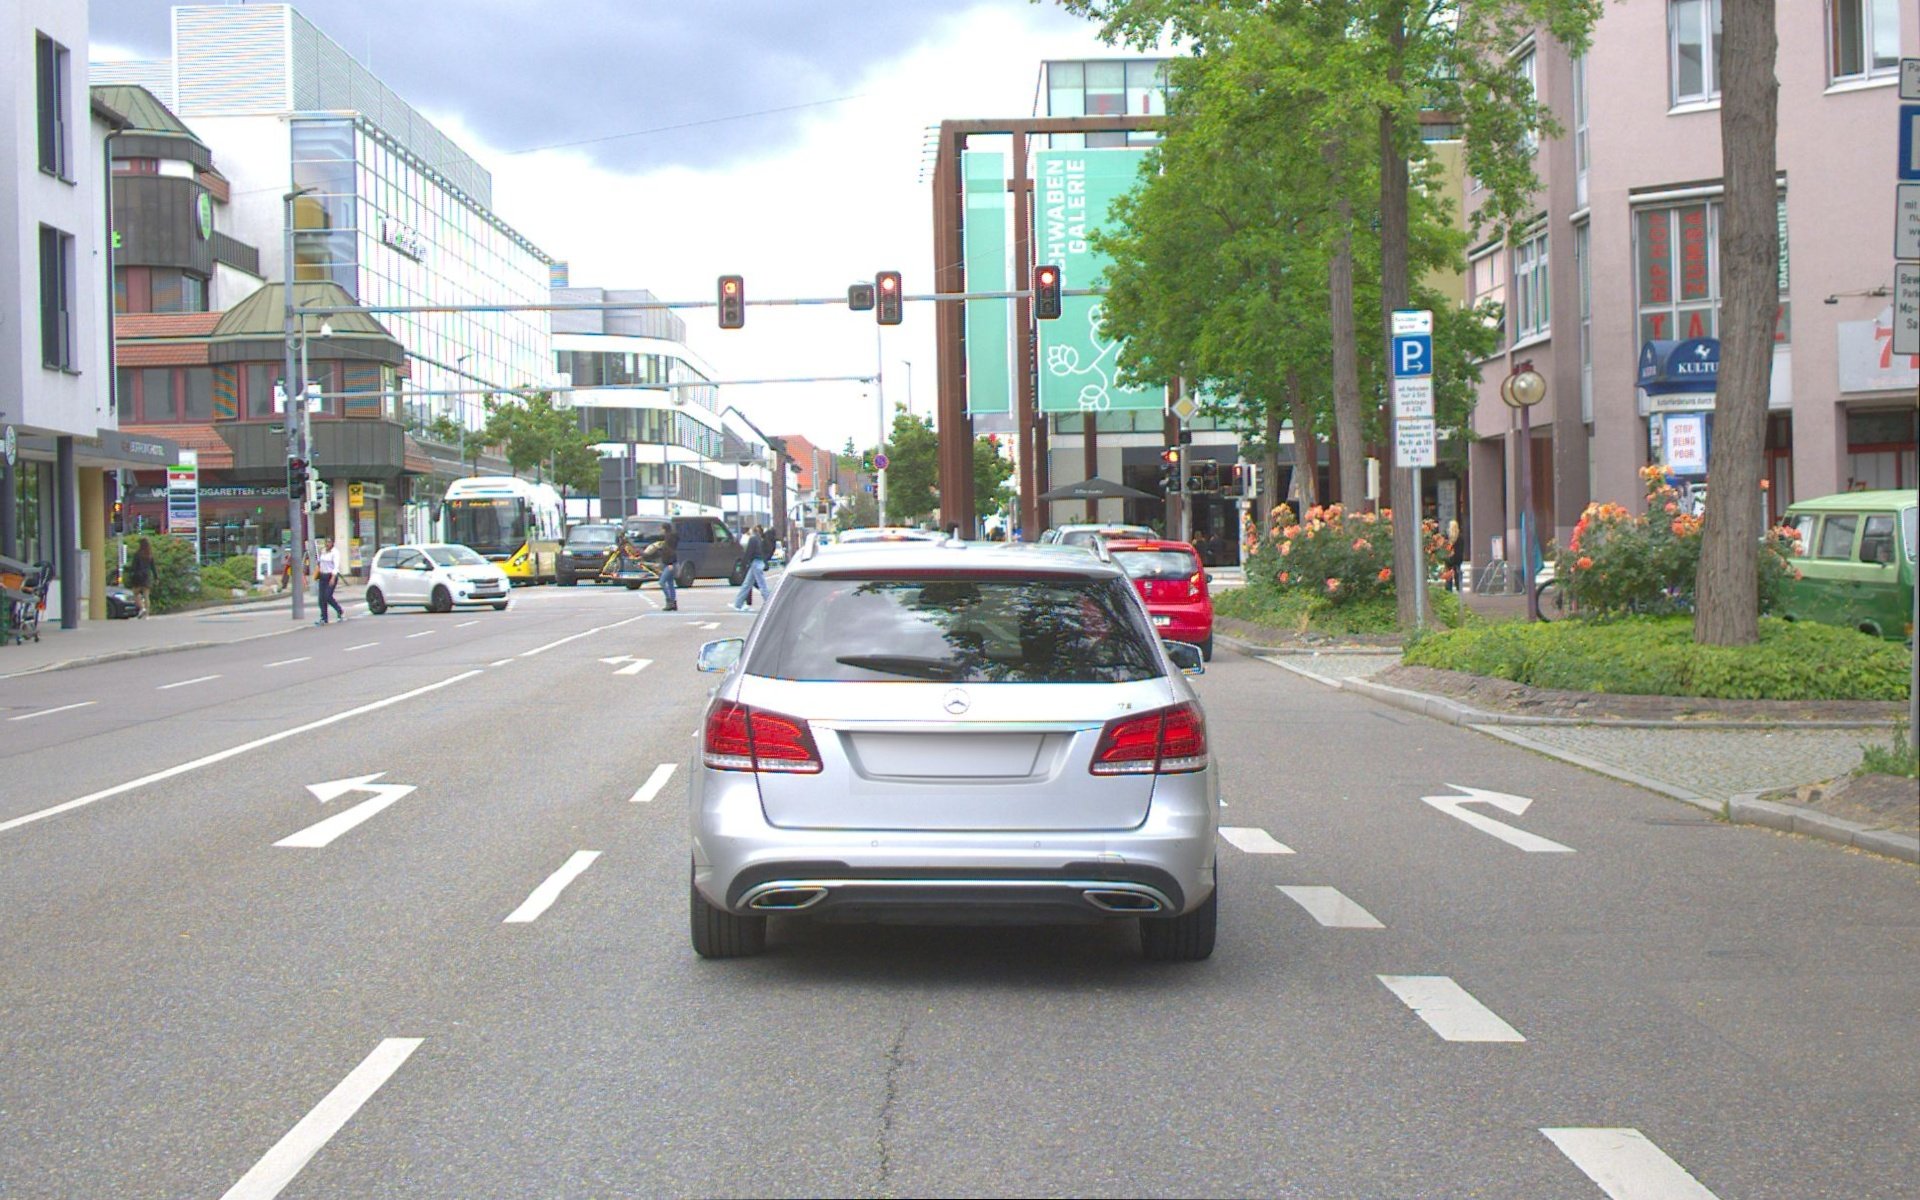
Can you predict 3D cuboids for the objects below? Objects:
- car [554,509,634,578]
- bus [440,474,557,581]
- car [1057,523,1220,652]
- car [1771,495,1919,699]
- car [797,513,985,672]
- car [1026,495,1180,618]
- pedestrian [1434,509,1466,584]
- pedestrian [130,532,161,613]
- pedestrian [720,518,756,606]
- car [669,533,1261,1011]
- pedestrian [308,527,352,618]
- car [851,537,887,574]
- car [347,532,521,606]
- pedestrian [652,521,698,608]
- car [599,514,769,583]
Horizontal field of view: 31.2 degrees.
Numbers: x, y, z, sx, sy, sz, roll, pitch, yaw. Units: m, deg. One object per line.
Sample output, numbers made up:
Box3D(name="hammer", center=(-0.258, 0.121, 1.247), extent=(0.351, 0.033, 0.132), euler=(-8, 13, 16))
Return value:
Box3D(name="car", center=(-11.078, -1.725, 104.211), extent=(1.993, 2.007, 4.000), euler=(-1, 1, 0))
Box3D(name="bus", center=(-14.105, -2.229, 105.457), extent=(2.775, 3.154, 5.933), euler=(-1, 1, -1))
Box3D(name="car", center=(2.187, -0.176, 43.075), extent=(1.754, 1.515, 4.000), euler=(-1, 1, -1))
Box3D(name="car", center=(9.392, -0.086, 33.367), extent=(1.866, 1.858, 4.001), euler=(-1, 1, -3))
Box3D(name="car", center=(-0.768, -0.122, 38.968), extent=(1.993, 1.678, 4.000), euler=(-1, 1, -1))
Box3D(name="car", center=(2.036, -0.650, 49.902), extent=(1.993, 1.678, 4.000), euler=(-1, 1, -1))
Box3D(name="pedestrian", center=(10.837, -1.184, 76.038), extent=(0.613, 1.629, 0.587), euler=(2, 1, 12))
Box3D(name="pedestrian", center=(-17.136, -0.576, 72.326), extent=(0.586, 1.664, 0.642), euler=(2, 2, -14))
Box3D(name="pedestrian", center=(-4.186, -0.727, 64.807), extent=(0.613, 1.629, 0.588), euler=(2, 1, -4))
Box3D(name="car", center=(-0.082, 0.510, 12.942), extent=(1.874, 1.501, 4.001), euler=(-1, 1, -3))
Box3D(name="pedestrian", center=(-11.559, -0.509, 63.069), extent=(0.613, 1.629, 0.588), euler=(1, 1, -26))
Box3D(name="car", center=(-5.128, -2.545, 194.317), extent=(1.993, 2.007, 4.000), euler=(-1, 1, -1))
Box3D(name="car", center=(-11.243, -0.664, 73.316), extent=(1.662, 1.525, 3.998), euler=(-2, 2, -43))
Box3D(name="pedestrian", center=(-5.463, -0.686, 65.920), extent=(0.833, 1.629, 0.588), euler=(2, 1, -4))
Box3D(name="car", center=(-7.656, -1.453, 95.768), extent=(1.997, 1.816, 4.914), euler=(0, 1, 36))
